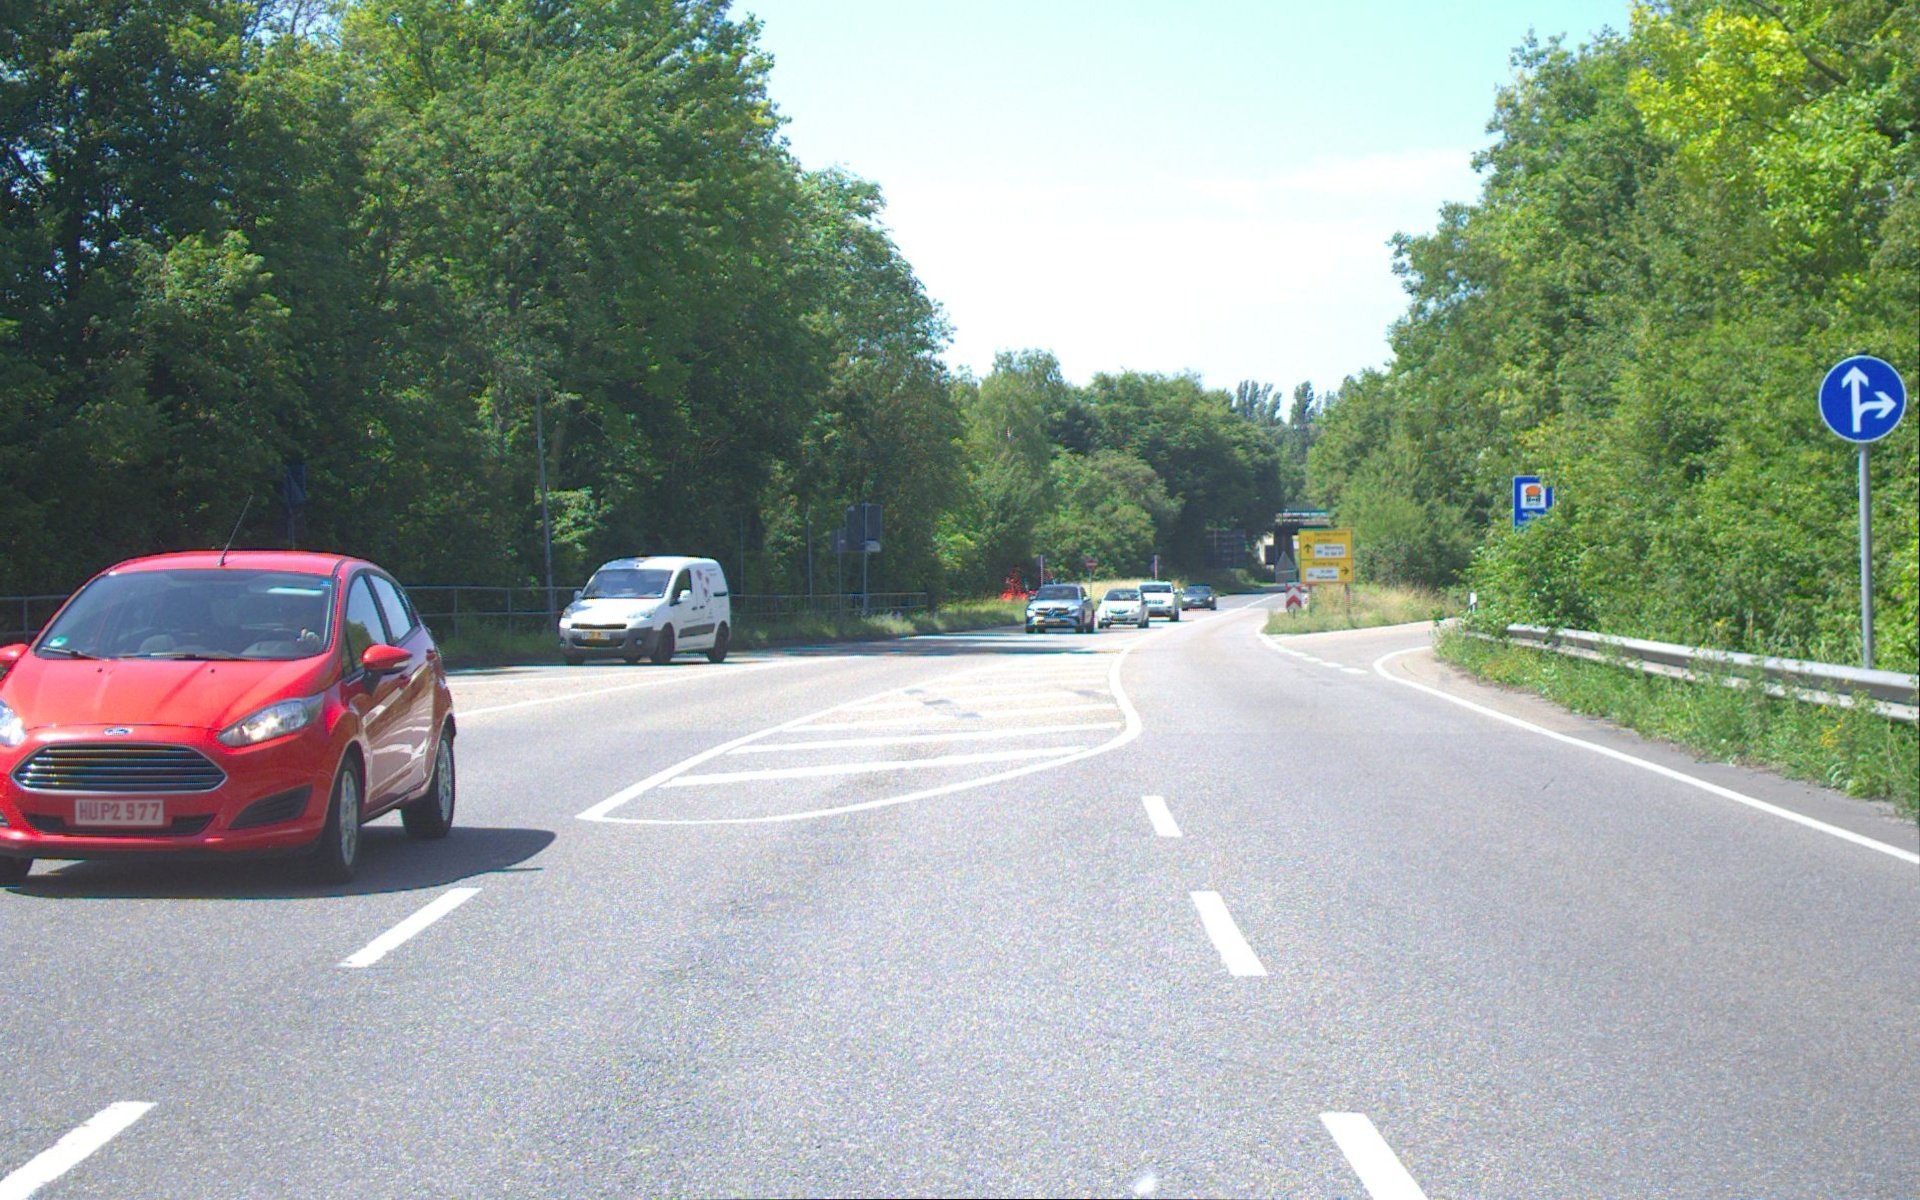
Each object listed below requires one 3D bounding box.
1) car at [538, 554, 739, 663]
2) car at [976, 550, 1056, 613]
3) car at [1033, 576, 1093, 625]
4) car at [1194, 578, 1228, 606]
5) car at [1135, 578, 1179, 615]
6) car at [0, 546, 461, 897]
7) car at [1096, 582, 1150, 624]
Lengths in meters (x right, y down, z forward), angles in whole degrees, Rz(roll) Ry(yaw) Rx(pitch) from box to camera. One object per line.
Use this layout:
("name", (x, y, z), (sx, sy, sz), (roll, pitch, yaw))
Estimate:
("car", (-5.332, 0.110, 57.580), (1.995, 1.724, 4.271), (0, 1, 15))
("car", (2.896, -0.982, 178.195), (1.993, 3.215, 4.809), (-1, 1, -28))
("car", (3.399, 0.005, 112.988), (1.678, 1.522, 3.999), (0, 1, 6))
("car", (13.757, -0.449, 188.225), (1.720, 1.504, 3.709), (0, 1, 6))
("car", (8.629, -0.170, 150.467), (1.720, 1.523, 3.709), (0, 1, 6))
("car", (-3.509, 0.483, 16.186), (1.810, 1.453, 3.758), (0, 1, -1))
("car", (6.137, 0.096, 129.015), (1.678, 1.522, 3.999), (0, 1, 8))
